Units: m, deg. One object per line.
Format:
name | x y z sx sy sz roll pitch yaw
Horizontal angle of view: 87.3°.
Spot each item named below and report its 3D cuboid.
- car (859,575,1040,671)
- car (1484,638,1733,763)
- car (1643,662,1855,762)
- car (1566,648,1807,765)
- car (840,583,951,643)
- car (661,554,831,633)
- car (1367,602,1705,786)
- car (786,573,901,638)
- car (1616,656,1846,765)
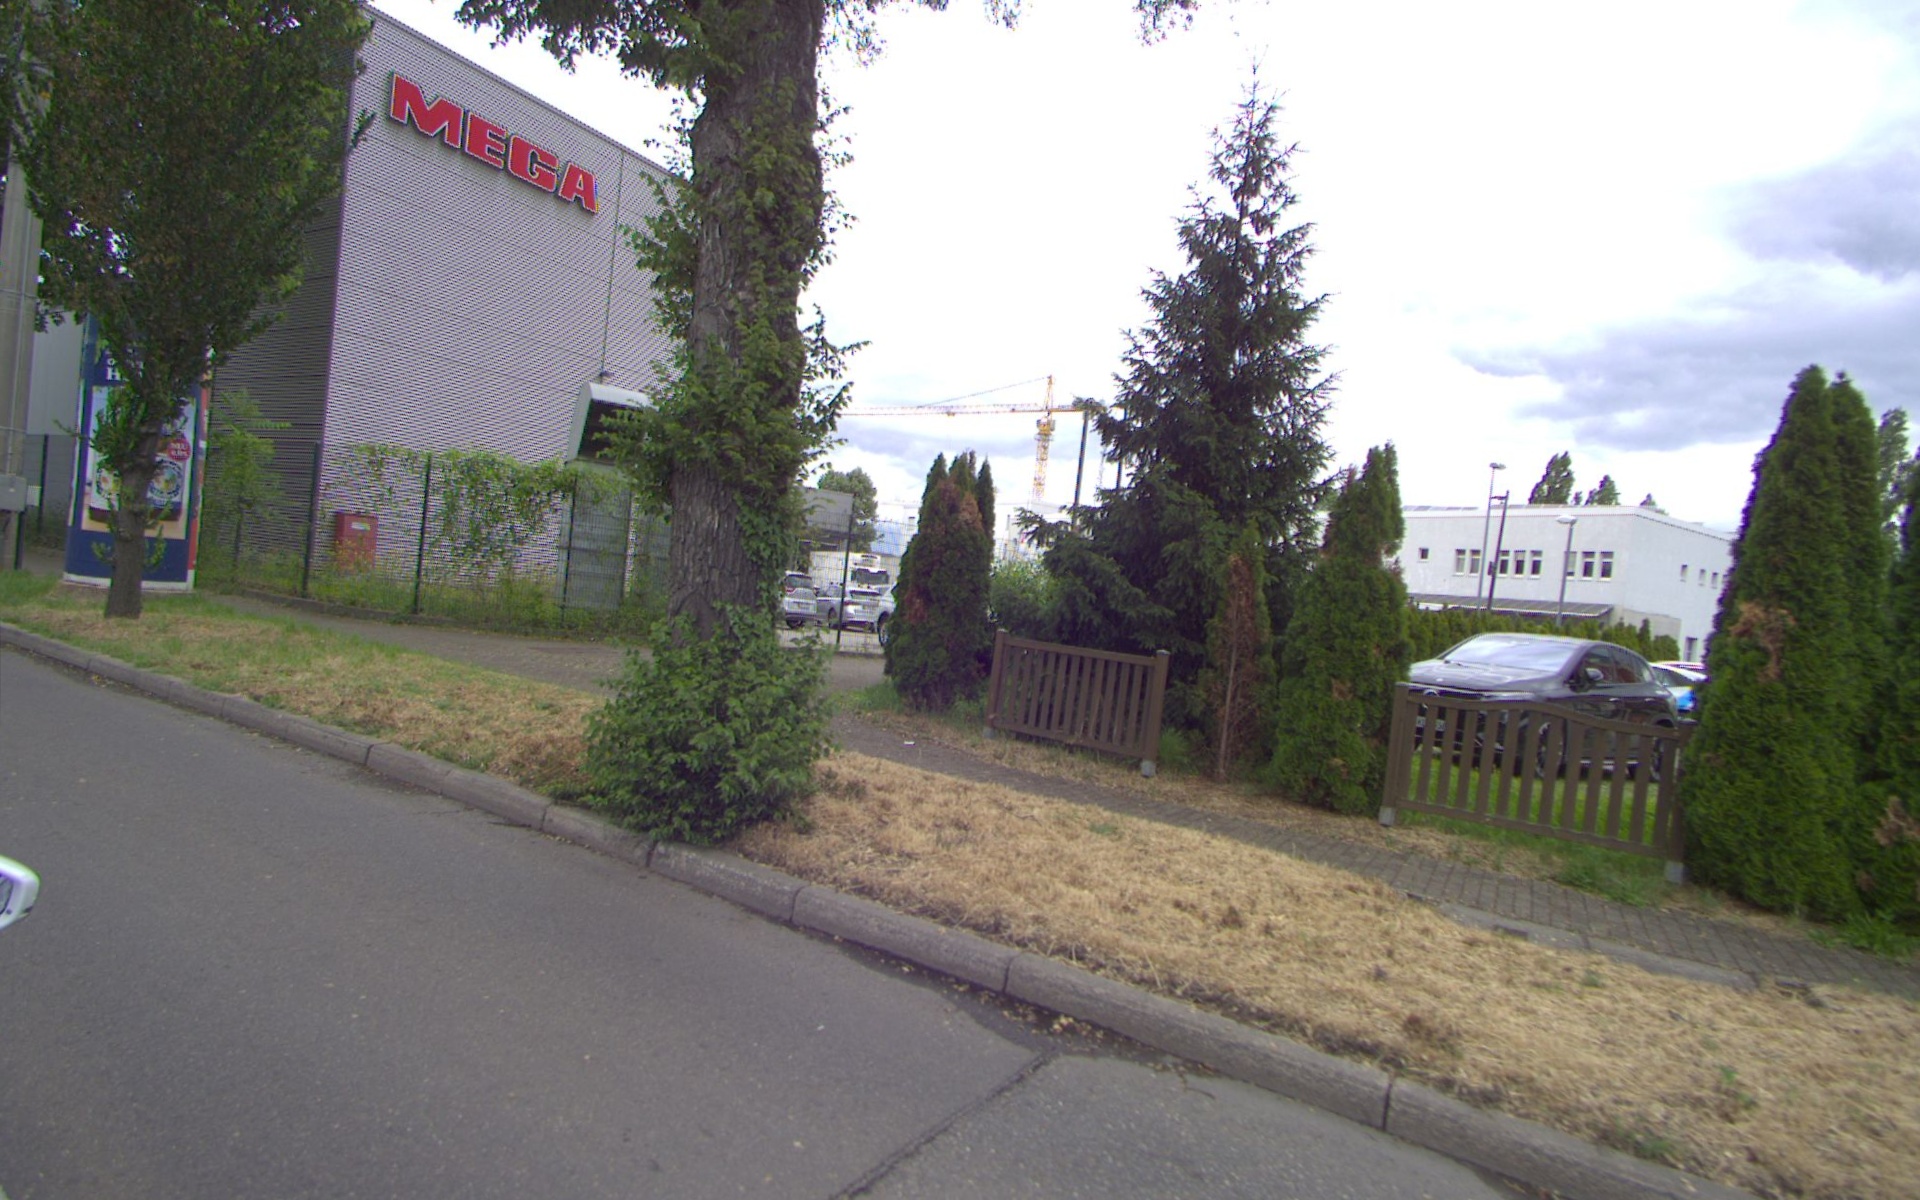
car | -0.367 0.458 23.208 1.979 1.696 4.599 6 0 -31
car | 13.149 1.980 20.615 3.935 1.861 1.995 7 1 33
car | 20.068 2.797 25.849 3.935 1.861 1.995 7 1 33
car | 15.692 2.240 22.010 3.935 1.861 1.995 7 1 33
car | -2.421 0.426 36.478 1.979 1.696 4.599 6 0 -31
car | -6.170 -0.198 28.831 4.561 1.696 1.995 7 0 32
car | 7.118 1.156 12.276 4.340 1.727 1.979 7 0 -38
car | -4.011 0.139 33.857 1.979 1.696 4.599 6 0 -31
car | 17.827 2.500 23.551 3.935 1.861 1.995 7 1 33
